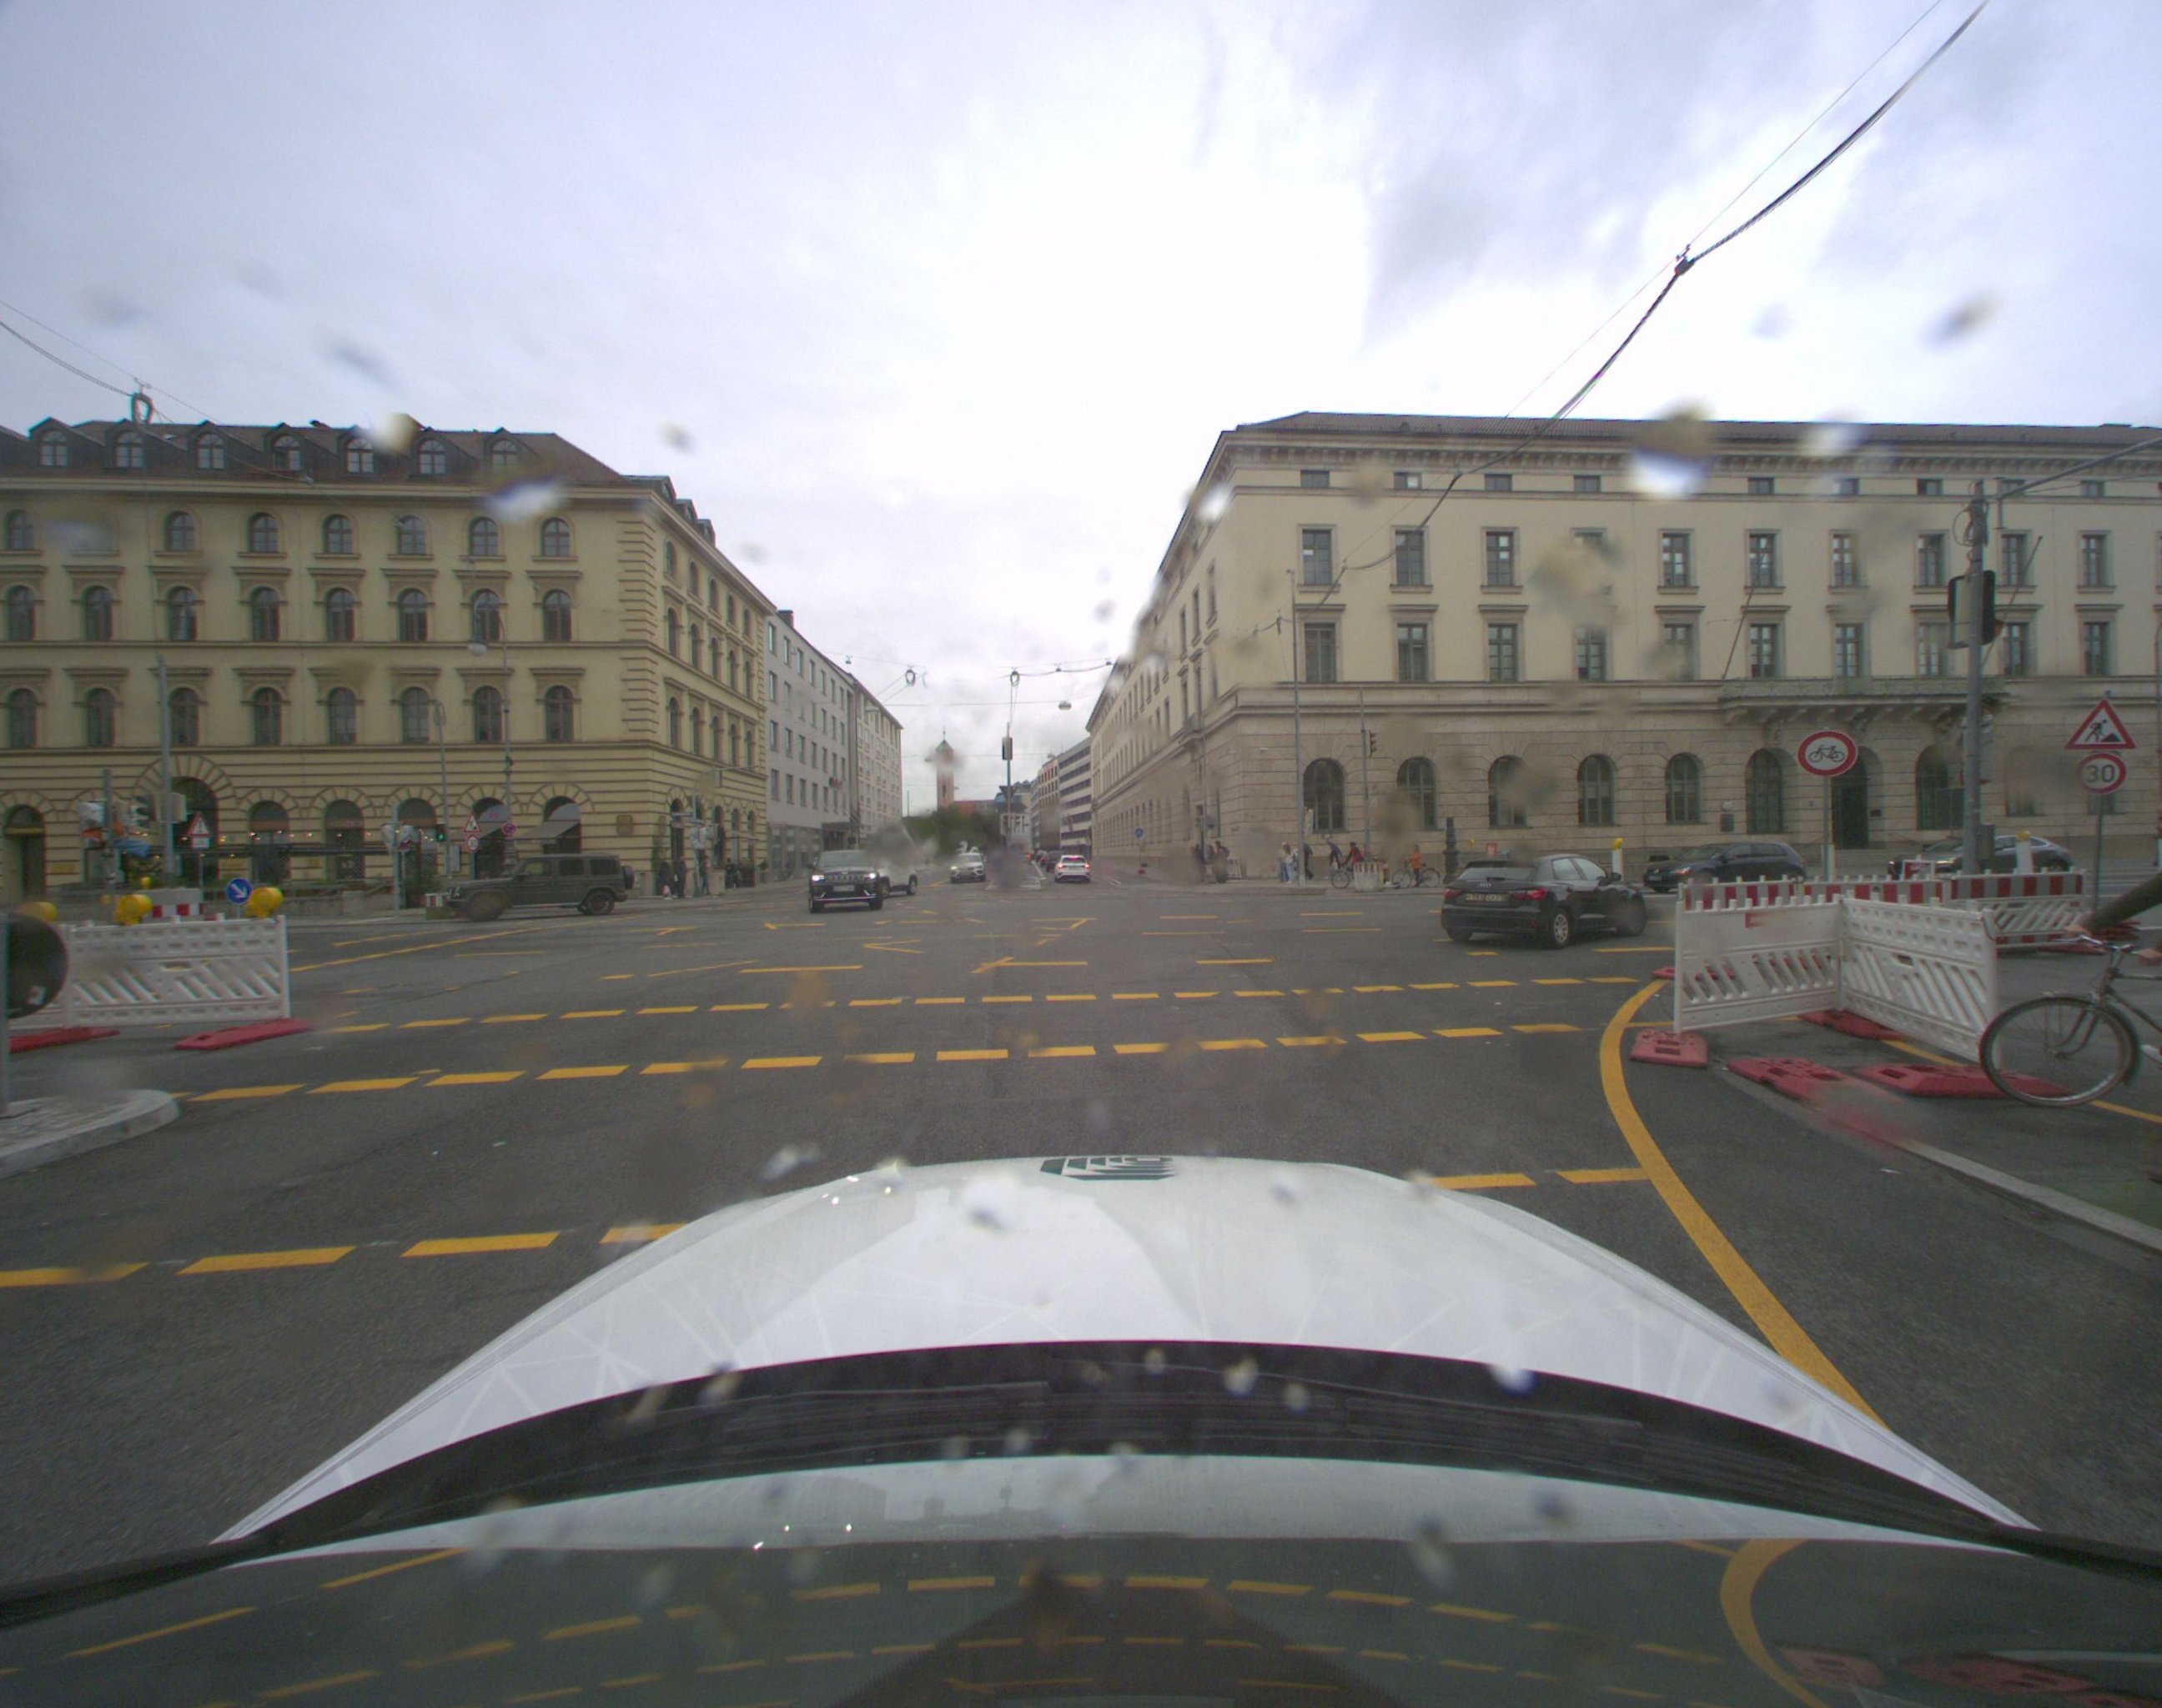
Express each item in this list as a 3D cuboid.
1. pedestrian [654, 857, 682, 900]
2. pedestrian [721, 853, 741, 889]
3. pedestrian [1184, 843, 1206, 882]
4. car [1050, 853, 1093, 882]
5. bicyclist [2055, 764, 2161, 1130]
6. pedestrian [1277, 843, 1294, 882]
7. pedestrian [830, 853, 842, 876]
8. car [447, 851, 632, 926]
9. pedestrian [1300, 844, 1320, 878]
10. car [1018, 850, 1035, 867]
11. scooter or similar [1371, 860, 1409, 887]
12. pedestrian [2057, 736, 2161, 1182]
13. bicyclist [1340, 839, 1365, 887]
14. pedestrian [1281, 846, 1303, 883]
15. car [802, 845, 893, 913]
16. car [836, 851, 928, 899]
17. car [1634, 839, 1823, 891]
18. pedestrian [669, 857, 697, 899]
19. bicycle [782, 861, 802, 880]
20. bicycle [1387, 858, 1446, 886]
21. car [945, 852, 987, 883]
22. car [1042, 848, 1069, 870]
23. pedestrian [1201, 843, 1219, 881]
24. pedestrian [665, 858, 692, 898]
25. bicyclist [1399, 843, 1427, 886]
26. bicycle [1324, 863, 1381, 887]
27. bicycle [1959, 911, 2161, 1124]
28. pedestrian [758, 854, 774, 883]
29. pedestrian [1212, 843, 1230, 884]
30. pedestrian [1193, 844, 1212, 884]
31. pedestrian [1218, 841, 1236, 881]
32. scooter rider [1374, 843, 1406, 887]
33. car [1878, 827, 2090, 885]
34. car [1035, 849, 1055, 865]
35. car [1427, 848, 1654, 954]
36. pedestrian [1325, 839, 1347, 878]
[{"bbox_3d":[-17.117,1.009,33.761,0.728,1.772,0.764,0,0,17],"label":"pedestrian"},{"bbox_3d":[-17.649,0.855,41.105,0.735,1.772,0.735,0,0,-5],"label":"pedestrian"},{"bbox_3d":[5.217,0.375,37.173,0.823,1.755,0.579,0,0,-35],"label":"pedestrian"},{"bbox_3d":[-0.547,0.684,43.375,1.811,1.424,4.442,0,0,-7],"label":"car"},{"bbox_3d":[5.782,0.468,4.249,0.789,1.854,0.571,0,0,38],"label":"bicyclist"},{"bbox_3d":[8.878,0.360,35.334,0.613,1.671,0.542,0,0,3],"label":"pedestrian"},{"bbox_3d":[-19.189,0.799,63.722,0.735,1.772,0.735,0,0,-5],"label":"pedestrian"},{"bbox_3d":[-16.805,0.975,25.383,4.475,2.013,2.218,-2,1,-43],"label":"car"},{"bbox_3d":[10.268,0.300,36.586,0.663,1.527,0.820,0,0,0],"label":"pedestrian"},{"bbox_3d":[-6.655,0.533,98.929,1.990,2.013,3.994,-1,0,-5],"label":"car"},{"bbox_3d":[11.340,0.713,29.905,1.208,0.965,0.587,0,0,-3],"label":"scooter or similar"},{"bbox_3d":[4.914,0.443,3.493,0.700,1.884,0.641,0,0,0],"label":"pedestrian"},{"bbox_3d":[10.383,0.342,31.127,0.742,1.842,0.660,0,0,-2],"label":"bicyclist"},{"bbox_3d":[8.958,0.420,34.625,0.814,1.557,0.668,0,0,3],"label":"pedestrian"},{"bbox_3d":[-6.684,0.655,23.783,1.994,1.734,4.570,-2,0,-10],"label":"car"},{"bbox_3d":[-7.767,0.778,32.204,1.781,1.677,4.248,-1,0,13],"label":"car"},{"bbox_3d":[18.575,0.311,23.467,4.219,1.388,1.746,0,-1,-5],"label":"car"},{"bbox_3d":[-16.849,1.000,34.503,0.728,1.772,0.742,0,0,17],"label":"pedestrian"},{"bbox_3d":[-19.769,1.139,55.728,0.596,1.242,2.197,0,0,-2],"label":"bicycle"},{"bbox_3d":[12.783,0.679,31.052,1.953,1.040,0.795,0,0,-2],"label":"bicycle"},{"bbox_3d":[-6.240,0.699,44.731,1.990,1.524,4.226,-2,0,-5],"label":"car"},{"bbox_3d":[-2.027,0.365,63.849,1.862,1.601,3.845,-1,0,-5],"label":"car"},{"bbox_3d":[6.001,0.368,37.838,0.812,1.755,0.587,0,0,10],"label":"pedestrian"},{"bbox_3d":[-17.821,1.050,36.083,0.731,1.772,0.739,0,0,17],"label":"pedestrian"},{"bbox_3d":[12.647,0.406,31.045,0.742,1.615,0.795,0,0,-2],"label":"bicyclist"},{"bbox_3d":[10.373,0.811,31.132,1.966,0.879,0.661,0,0,-2],"label":"bicycle"},{"bbox_3d":[5.814,0.859,4.226,1.635,1.011,0.590,0,0,38],"label":"bicycle"},{"bbox_3d":[-19.618,0.901,50.702,0.735,1.772,0.735,0,0,-5],"label":"pedestrian"},{"bbox_3d":[6.196,0.411,35.997,0.578,1.755,0.825,0,0,27],"label":"pedestrian"},{"bbox_3d":[5.323,0.430,35.645,0.812,1.755,0.682,0,0,12],"label":"pedestrian"},{"bbox_3d":[6.593,0.309,36.868,0.578,1.755,0.825,0,0,27],"label":"pedestrian"},{"bbox_3d":[11.335,0.399,29.908,0.930,1.622,0.592,0,0,-3],"label":"scooter rider"},{"bbox_3d":[26.709,0.071,24.167,4.553,1.567,1.788,-1,-2,-5],"label":"car"},{"bbox_3d":[-3.670,0.296,82.353,1.862,1.601,3.845,-1,0,-5],"label":"car"},{"bbox_3d":[7.515,0.635,13.178,4.020,1.388,1.848,-1,1,-39],"label":"car"},{"bbox_3d":[11.286,0.190,36.068,0.713,1.694,0.819,0,0,-3],"label":"pedestrian"}]
